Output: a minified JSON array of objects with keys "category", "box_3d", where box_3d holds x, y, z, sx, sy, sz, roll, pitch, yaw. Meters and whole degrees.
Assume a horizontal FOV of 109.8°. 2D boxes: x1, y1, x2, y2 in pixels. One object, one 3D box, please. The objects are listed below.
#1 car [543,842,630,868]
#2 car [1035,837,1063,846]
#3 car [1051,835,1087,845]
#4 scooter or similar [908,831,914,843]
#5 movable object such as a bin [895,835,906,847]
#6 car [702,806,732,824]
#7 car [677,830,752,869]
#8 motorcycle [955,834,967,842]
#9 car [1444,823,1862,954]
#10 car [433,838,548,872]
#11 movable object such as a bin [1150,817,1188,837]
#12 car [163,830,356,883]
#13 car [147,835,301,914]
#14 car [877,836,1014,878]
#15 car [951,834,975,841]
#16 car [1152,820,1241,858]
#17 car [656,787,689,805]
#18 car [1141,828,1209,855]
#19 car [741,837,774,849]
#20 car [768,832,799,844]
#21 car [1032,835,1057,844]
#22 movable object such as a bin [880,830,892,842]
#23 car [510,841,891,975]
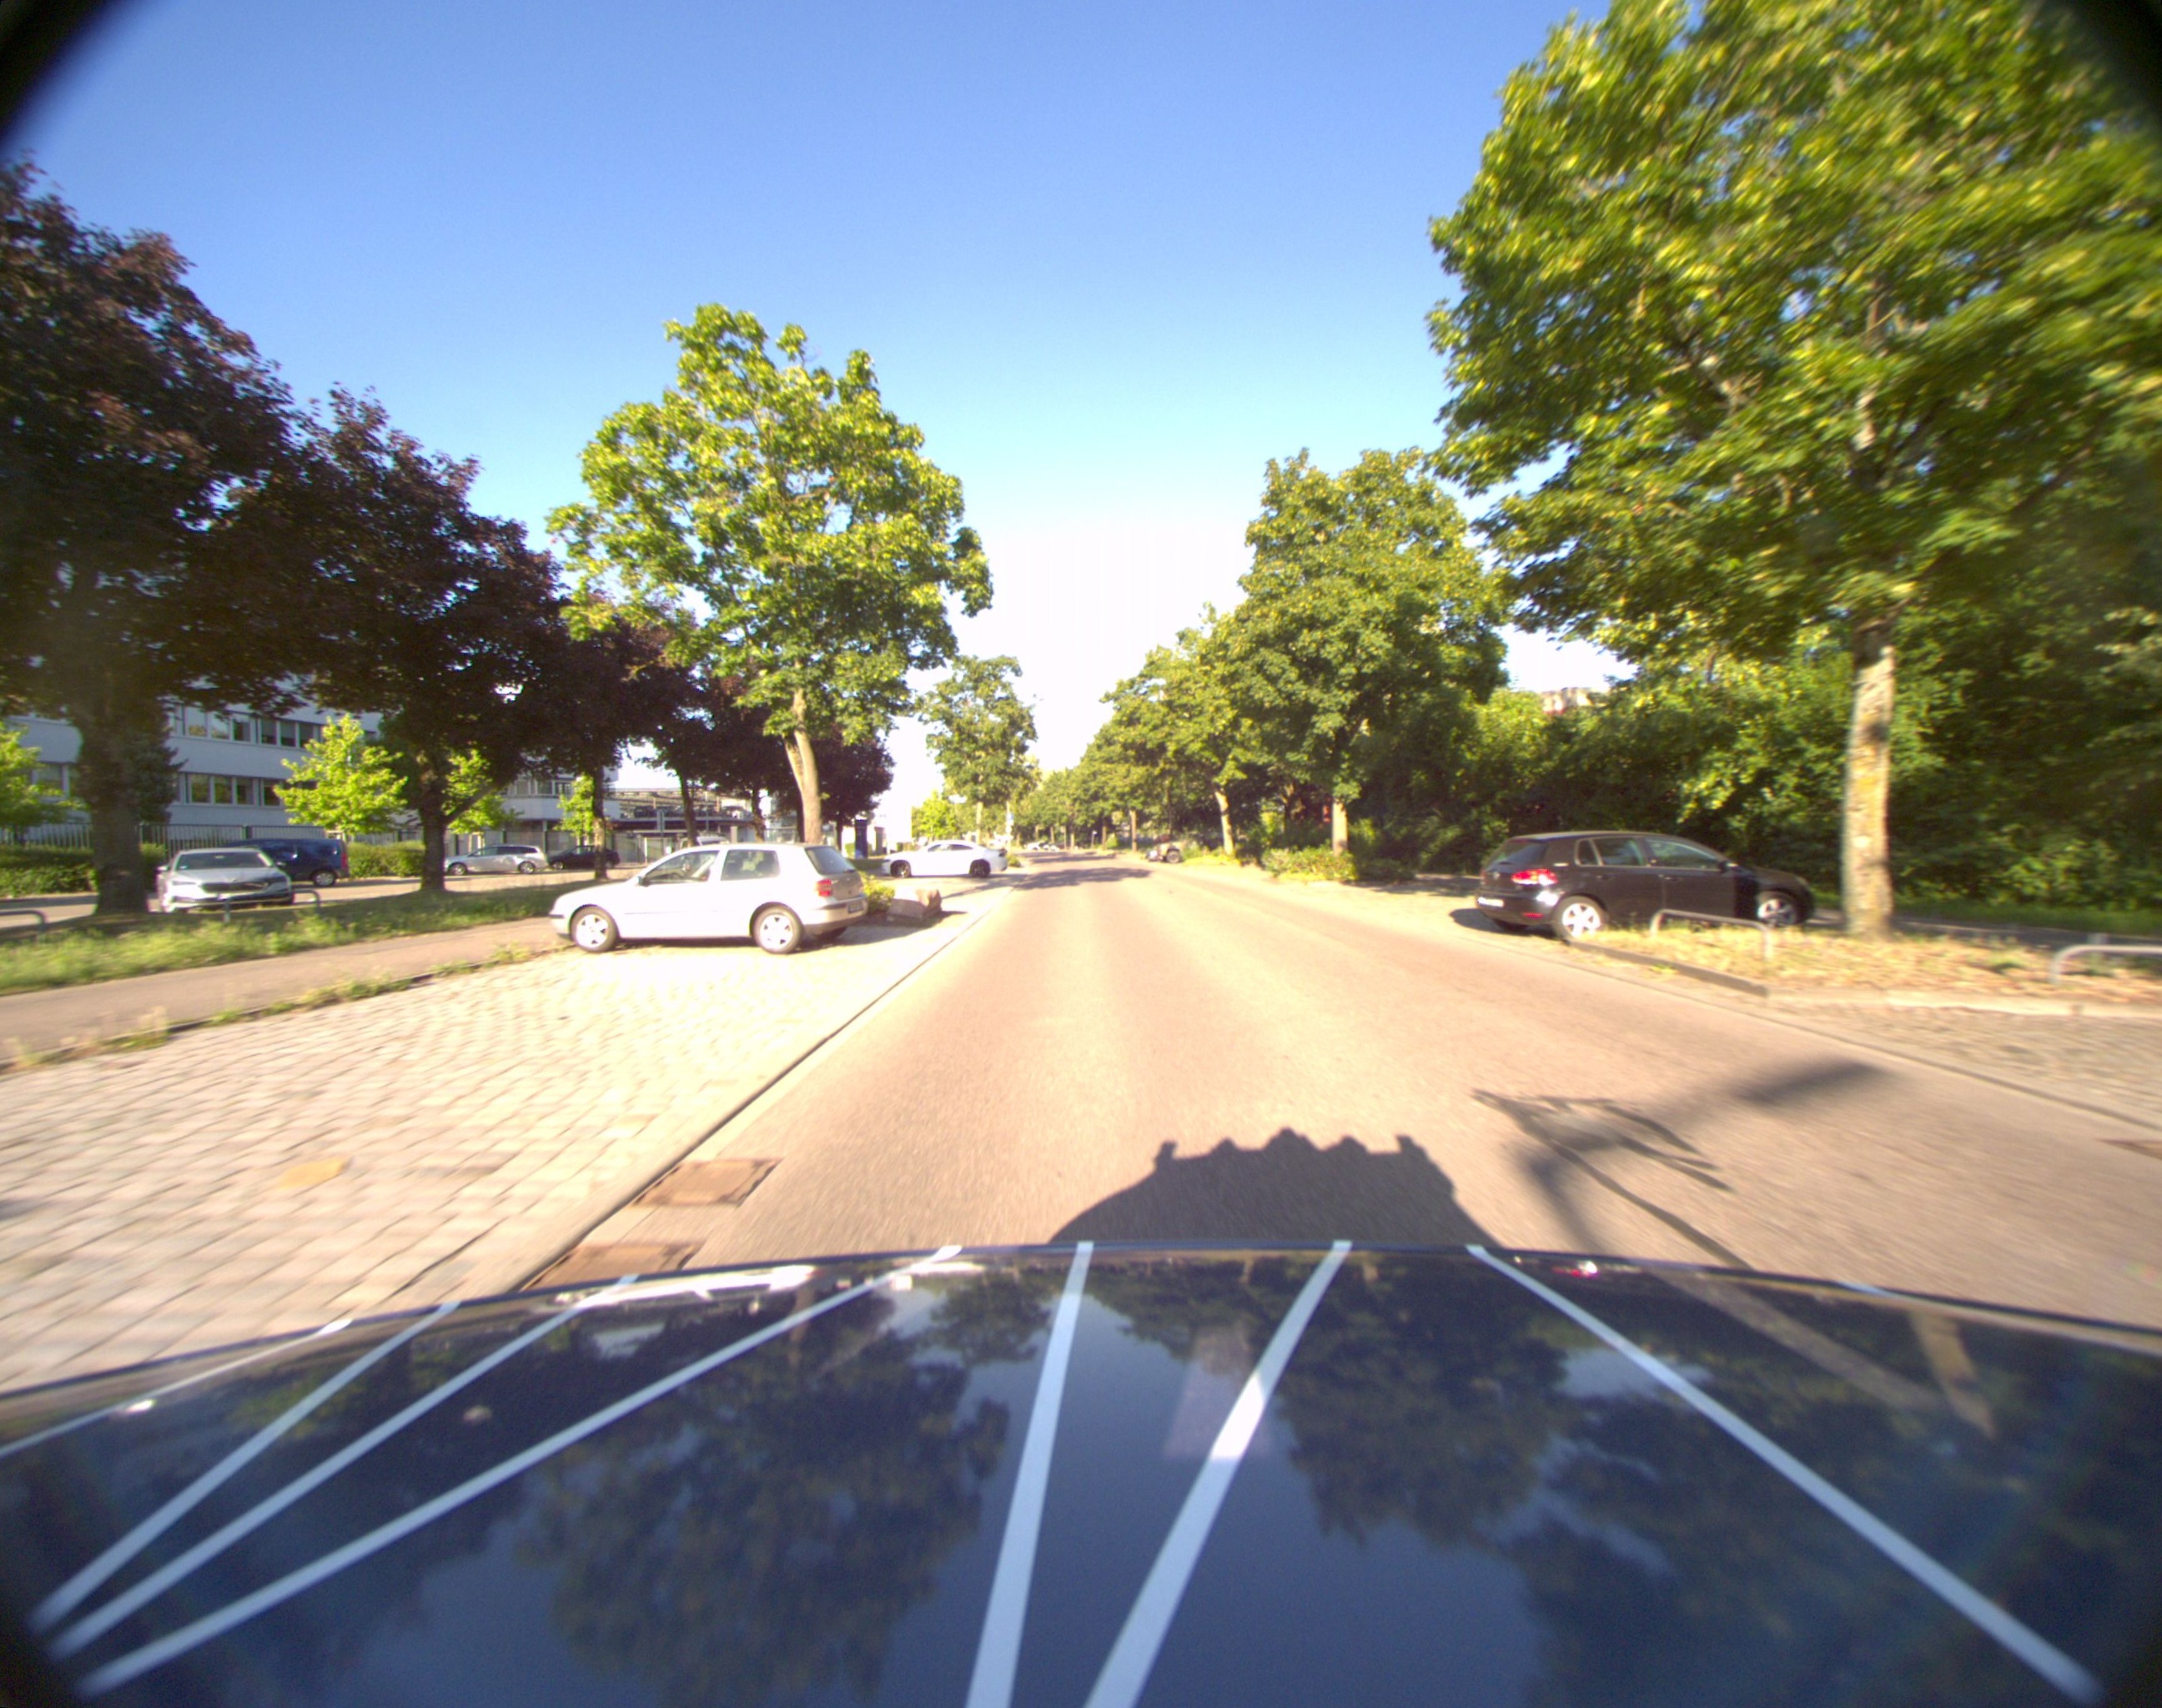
[{"category":"car","box_3d":[-28.859,0.019,44.403,4.007,1.347,1.801,-2,3,-42]},{"category":"car","box_3d":[-5.486,-2.098,129.303,4.496,1.522,1.997,-1,2,-13]},{"category":"car","box_3d":[-1.748,-2.050,112.232,5.053,1.454,1.997,-1,2,-13]},{"category":"scooter or similar","box_3d":[-17.705,-1.774,79.015,0.521,1.265,1.199,-1,2,-7]},{"category":"movable object such as a bin","box_3d":[-22.401,-1.592,94.384,0.846,1.408,1.039,-1,2,20]},{"category":"car","box_3d":[-48.656,-5.197,101.658,1.999,2.090,4.199,-3,2,-1]},{"category":"car","box_3d":[-19.346,-0.235,39.987,2.004,1.923,4.939,-3,2,-45]},{"category":"motorcycle","box_3d":[-22.942,-3.019,145.098,2.133,1.458,0.947,-1,2,-28]},{"category":"car","box_3d":[7.751,0.398,10.633,4.370,1.471,1.999,-3,2,-1]},{"category":"car","box_3d":[-28.981,0.008,37.409,4.320,1.520,1.801,-2,3,-38]},{"category":"movable object such as a bin","box_3d":[12.164,-3.768,105.286,4.789,2.650,2.169,2,3,42]},{"category":"car","box_3d":[-29.095,0.021,27.172,4.504,1.740,1.762,-2,2,-43]},{"category":"car","box_3d":[-19.907,0.352,17.592,4.939,1.565,2.004,1,3,38]},{"category":"car","box_3d":[-5.328,0.090,30.590,5.190,1.565,2.156,-1,2,-4]},{"category":"car","box_3d":[-24.403,-3.404,156.963,4.608,1.576,1.997,-1,2,-16]},{"category":"car","box_3d":[7.177,-0.946,47.517,5.019,2.009,2.173,-4,2,-5]},{"category":"car","box_3d":[-54.564,-7.755,101.547,1.999,2.090,4.199,-3,2,-1]},{"category":"car","box_3d":[6.366,-0.853,51.512,4.224,1.522,1.704,-3,3,-5]},{"category":"car","box_3d":[-41.761,-1.403,98.104,2.036,1.424,4.560,0,2,3]},{"category":"car","box_3d":[-38.748,-2.121,99.132,2.036,1.424,4.560,0,2,3]},{"category":"car","box_3d":[-6.607,-2.591,136.868,4.302,1.522,1.997,-1,2,-12]},{"category":"movable object such as a bin","box_3d":[-24.222,-2.243,94.415,1.214,1.476,1.037,-1,2,-6]},{"category":"car","box_3d":[-5.129,0.639,10.590,4.366,1.471,2.000,2,3,8]}]
